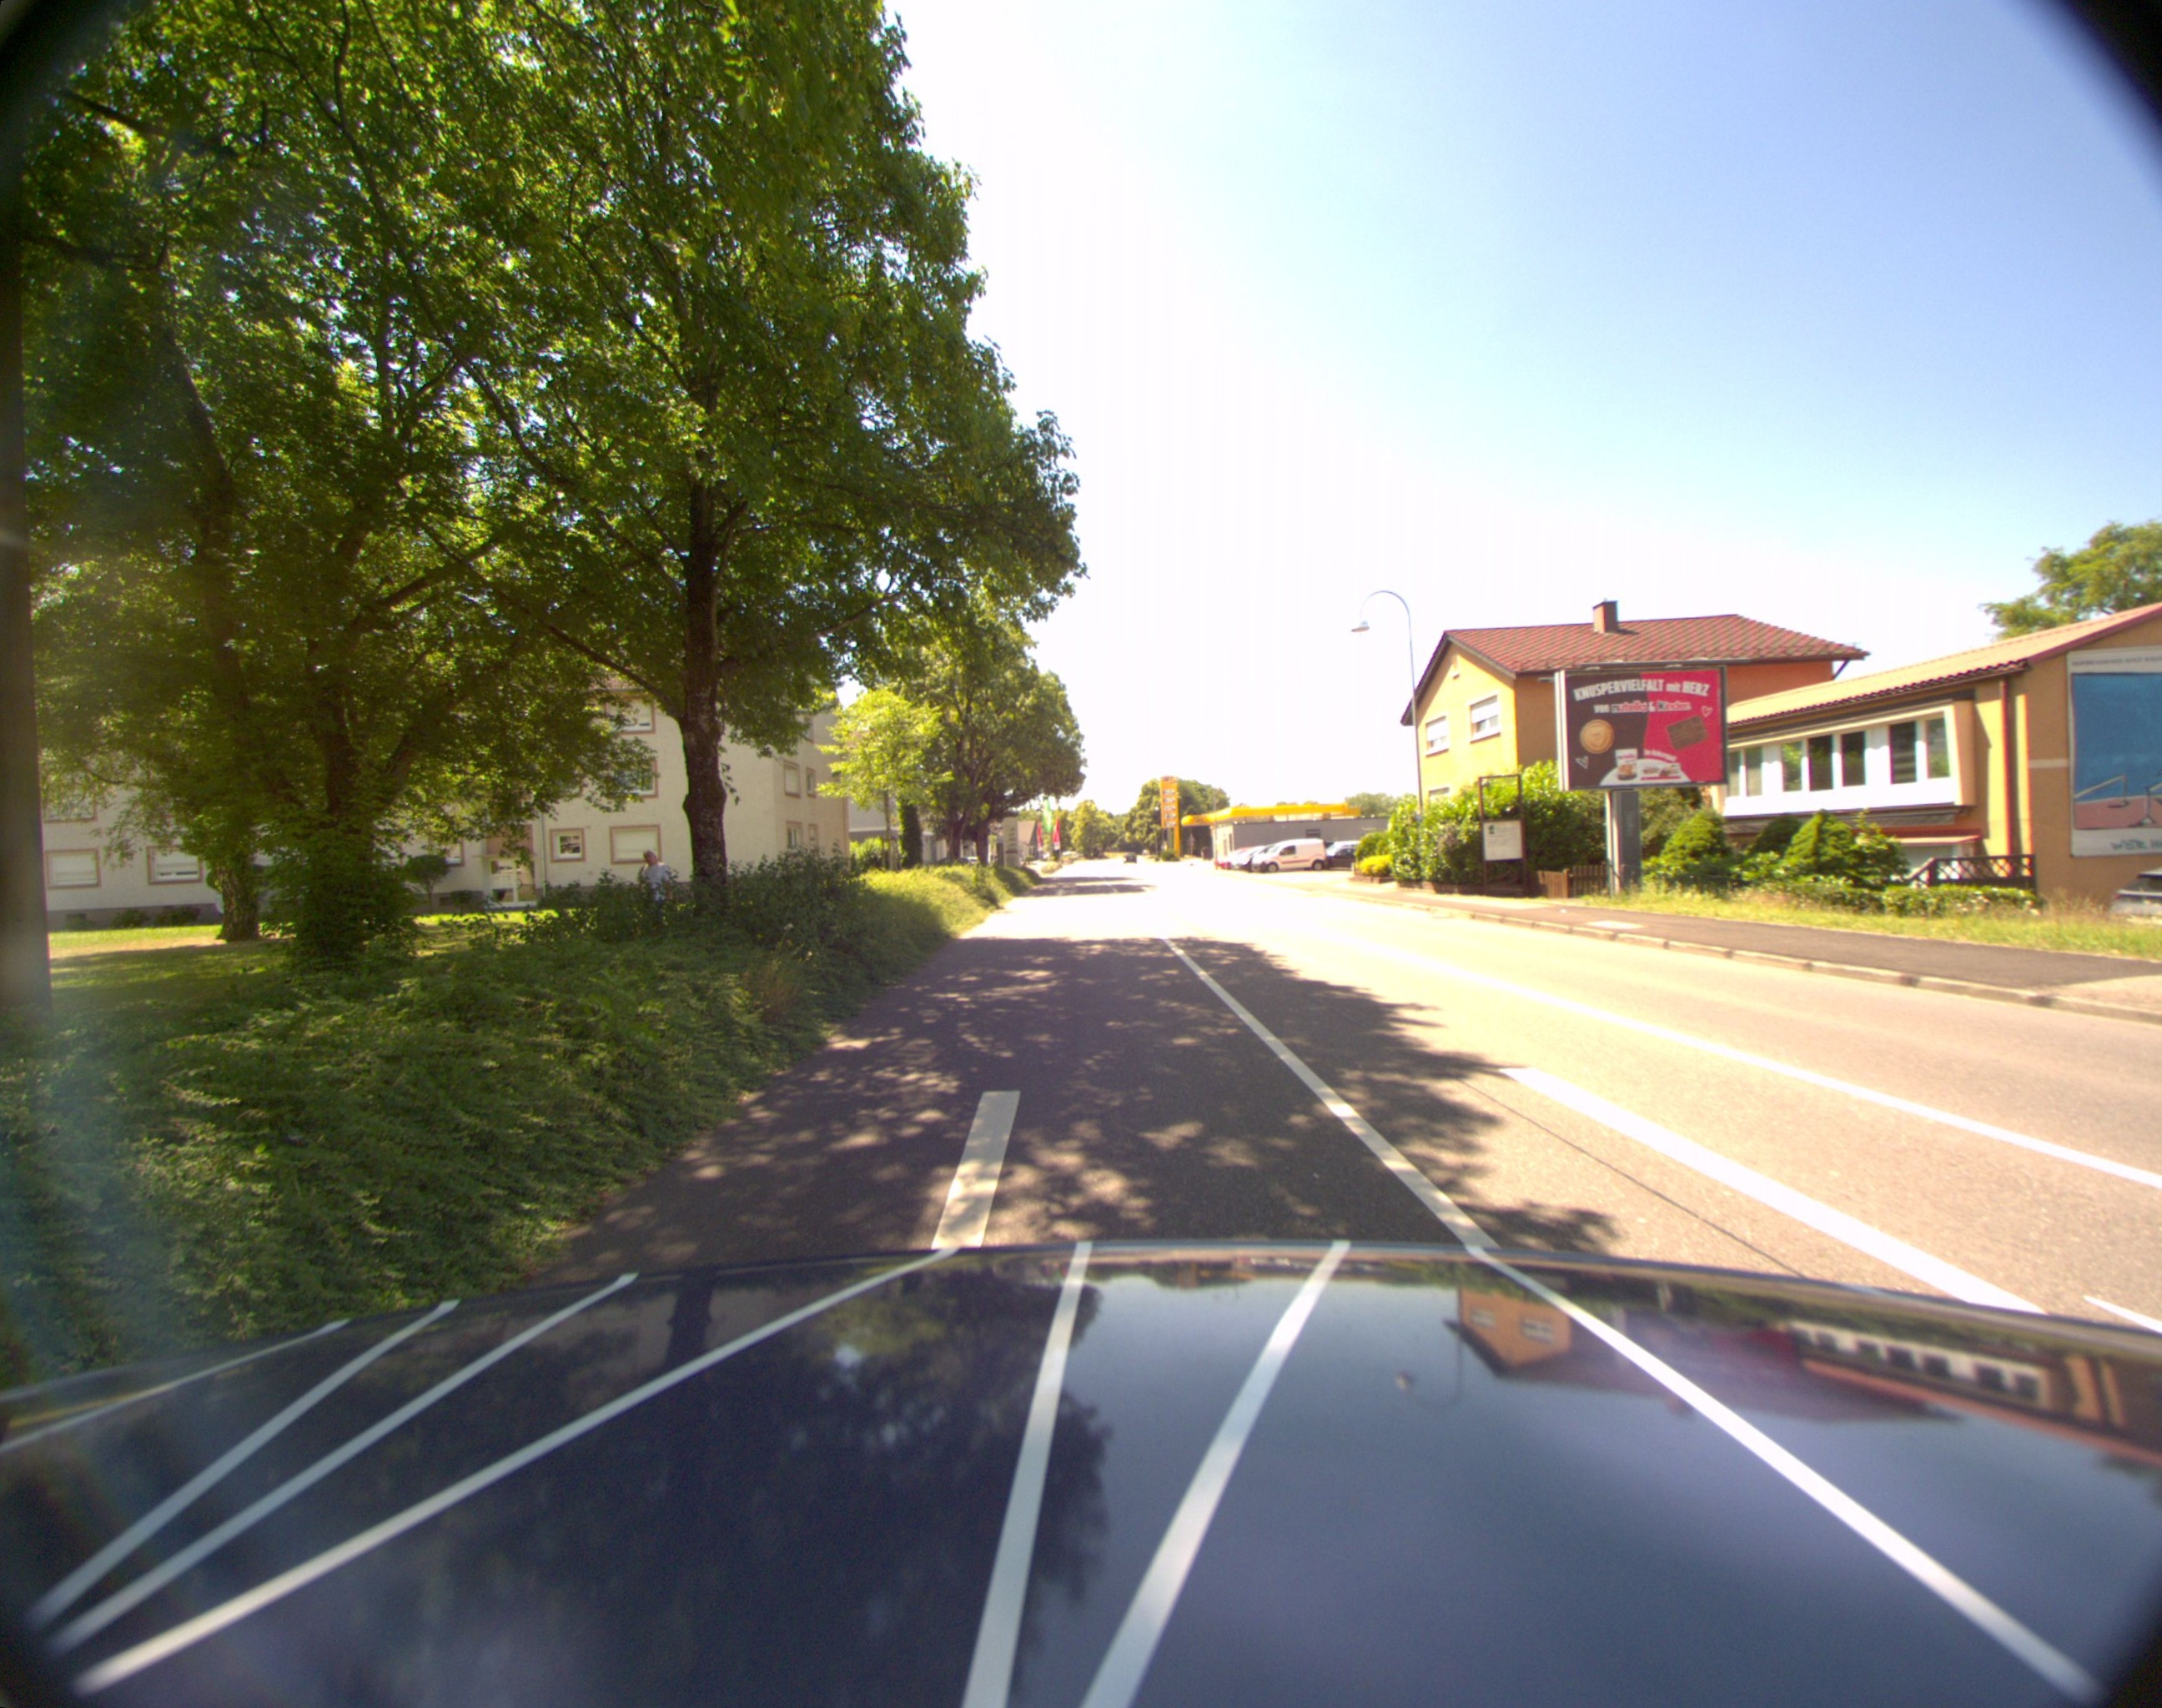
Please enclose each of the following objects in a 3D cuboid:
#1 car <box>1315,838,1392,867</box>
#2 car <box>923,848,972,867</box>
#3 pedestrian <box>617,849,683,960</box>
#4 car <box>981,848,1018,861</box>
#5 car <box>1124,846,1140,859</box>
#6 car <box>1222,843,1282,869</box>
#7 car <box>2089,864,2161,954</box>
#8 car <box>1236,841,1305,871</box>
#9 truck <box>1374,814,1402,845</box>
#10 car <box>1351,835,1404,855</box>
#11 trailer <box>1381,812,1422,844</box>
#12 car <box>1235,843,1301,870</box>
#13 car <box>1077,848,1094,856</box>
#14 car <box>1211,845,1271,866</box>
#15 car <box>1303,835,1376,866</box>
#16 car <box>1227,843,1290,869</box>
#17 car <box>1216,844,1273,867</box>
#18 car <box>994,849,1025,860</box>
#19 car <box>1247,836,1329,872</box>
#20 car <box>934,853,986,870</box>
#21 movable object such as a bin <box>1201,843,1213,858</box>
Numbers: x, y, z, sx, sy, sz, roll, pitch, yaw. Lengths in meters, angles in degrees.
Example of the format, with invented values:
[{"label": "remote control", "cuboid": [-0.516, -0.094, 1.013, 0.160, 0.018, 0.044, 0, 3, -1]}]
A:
[{"label": "car", "cuboid": [16.584, -0.090, 46.343, 3.997, 1.559, 1.830, -3, 0, -1]}, {"label": "car", "cuboid": [-11.657, 0.285, 66.510, 3.997, 1.541, 1.797, -1, 1, 0]}, {"label": "pedestrian", "cuboid": [-7.654, 0.881, 13.528, 0.705, 1.903, 0.660, -2, 1, 3]}, {"label": "car", "cuboid": [-11.154, 0.091, 104.456, 4.586, 1.632, 2.002, -2, 1, 20]}, {"label": "car", "cuboid": [6.563, -0.191, 97.846, 1.714, 1.486, 4.277, -2, 0, 0]}, {"label": "car", "cuboid": [11.887, 0.114, 52.979, 3.673, 1.596, 1.881, -2, 1, -2]}, {"label": "car", "cuboid": [19.776, 0.876, 12.355, 4.035, 1.442, 1.780, -1, 1, 6]}, {"label": "car", "cuboid": [11.514, 0.106, 46.407, 3.673, 1.663, 1.922, -2, 1, -2]}, {"label": "truck", "cuboid": [34.332, -2.688, 85.047, 1.850, 3.223, 3.189, -2, 0, 1]}, {"label": "car", "cuboid": [26.187, -0.806, 67.191, 3.996, 1.575, 1.754, -2, 1, 2]}, {"label": "trailer", "cuboid": [34.273, -2.697, 81.454, 1.869, 3.201, 5.913, -2, 0, 1]}, {"label": "car", "cuboid": [11.929, 0.143, 48.679, 3.673, 1.523, 1.922, -2, 1, -2]}, {"label": "car", "cuboid": [0.870, -0.363, 150.341, 3.405, 1.498, 1.582, -2, 1, 2]}, {"label": "car", "cuboid": [12.157, 0.113, 57.928, 4.136, 1.436, 1.826, -2, 1, 0]}, {"label": "car", "cuboid": [16.552, -0.206, 48.788, 3.912, 1.850, 1.999, -2, 1, -1]}, {"label": "car", "cuboid": [11.836, 0.134, 50.869, 3.673, 1.572, 1.922, -2, 1, -2]}, {"label": "car", "cuboid": [11.908, 0.088, 55.477, 3.673, 1.449, 1.892, -2, 1, -2]}, {"label": "car", "cuboid": [-10.475, 0.093, 111.288, 3.992, 1.452, 1.807, -2, 1, 16]}, {"label": "car", "cuboid": [12.040, 0.001, 44.309, 4.105, 1.887, 1.999, -2, 1, -4]}, {"label": "car", "cuboid": [-11.144, 0.673, 70.011, 4.362, 1.363, 1.952, -3, 1, -22]}, {"label": "movable object such as a bin", "cuboid": [13.443, -0.398, 81.112, 0.954, 1.508, 1.428, -6, 0, 1]}]
